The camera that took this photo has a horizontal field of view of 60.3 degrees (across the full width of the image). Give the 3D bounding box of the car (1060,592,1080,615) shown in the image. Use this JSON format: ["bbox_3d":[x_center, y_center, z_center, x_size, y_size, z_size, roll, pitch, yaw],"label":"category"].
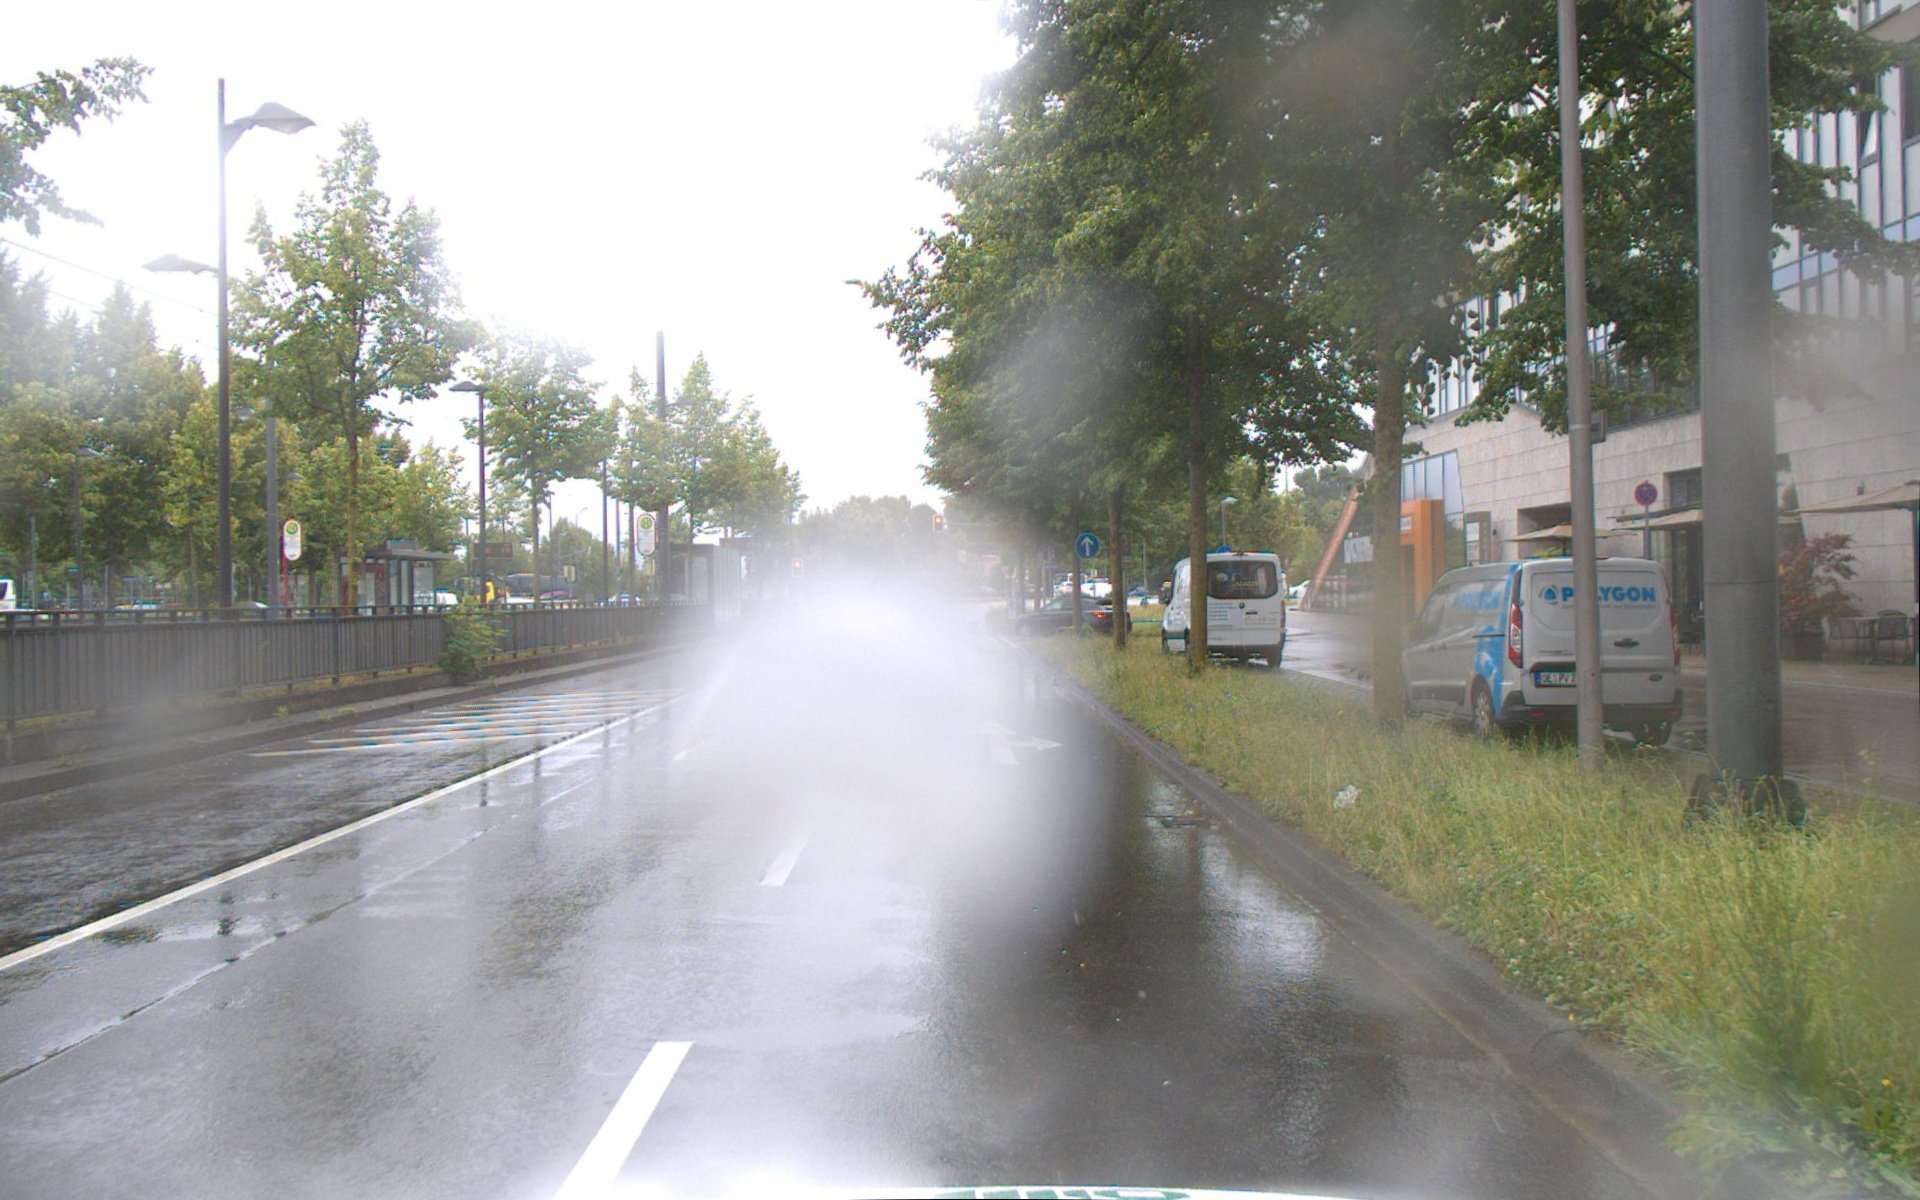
[{"bbox_3d":[9.044,0.295,136.438,1.589,1.729,3.458,-1,2,3],"label":"car"}]

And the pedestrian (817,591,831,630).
[{"bbox_3d":[-7.225,0.535,88.013,0.683,2.048,0.656,-1,2,-1],"label":"pedestrian"}]

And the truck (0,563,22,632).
[{"bbox_3d":[-71.083,-0.054,112.588,12.307,4.672,3.372,-2,2,-28],"label":"truck"}]

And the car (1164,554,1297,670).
[{"bbox_3d":[5.798,0.249,35.997,2.078,2.314,4.564,-1,0,-1],"label":"car"}]

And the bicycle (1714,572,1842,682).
[{"bbox_3d":[14.156,0.418,28.747,0.631,1.752,3.120,-1,2,-1],"label":"bicycle"}]

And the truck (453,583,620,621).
[{"bbox_3d":[-37.365,0.196,146.703,3.463,3.202,14.805,-1,-1,44],"label":"truck"}]

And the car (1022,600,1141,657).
[{"bbox_3d":[3.837,0.877,52.893,1.798,1.572,3.955,-2,2,-33],"label":"car"}]

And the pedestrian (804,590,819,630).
[{"bbox_3d":[-7.765,0.503,86.593,0.683,2.048,0.656,-1,2,2],"label":"pedestrian"}]

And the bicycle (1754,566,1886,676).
[{"bbox_3d":[14.890,0.313,28.760,0.631,1.752,3.120,-1,2,-1],"label":"bicycle"}]

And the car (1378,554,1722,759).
[{"bbox_3d":[5.941,0.514,17.329,1.867,1.822,4.687,-1,0,-1],"label":"car"}]

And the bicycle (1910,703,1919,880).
[{"bbox_3d":[5.327,0.932,8.036,1.262,0.864,0.275,-1,0,-2],"label":"bicycle"}]
